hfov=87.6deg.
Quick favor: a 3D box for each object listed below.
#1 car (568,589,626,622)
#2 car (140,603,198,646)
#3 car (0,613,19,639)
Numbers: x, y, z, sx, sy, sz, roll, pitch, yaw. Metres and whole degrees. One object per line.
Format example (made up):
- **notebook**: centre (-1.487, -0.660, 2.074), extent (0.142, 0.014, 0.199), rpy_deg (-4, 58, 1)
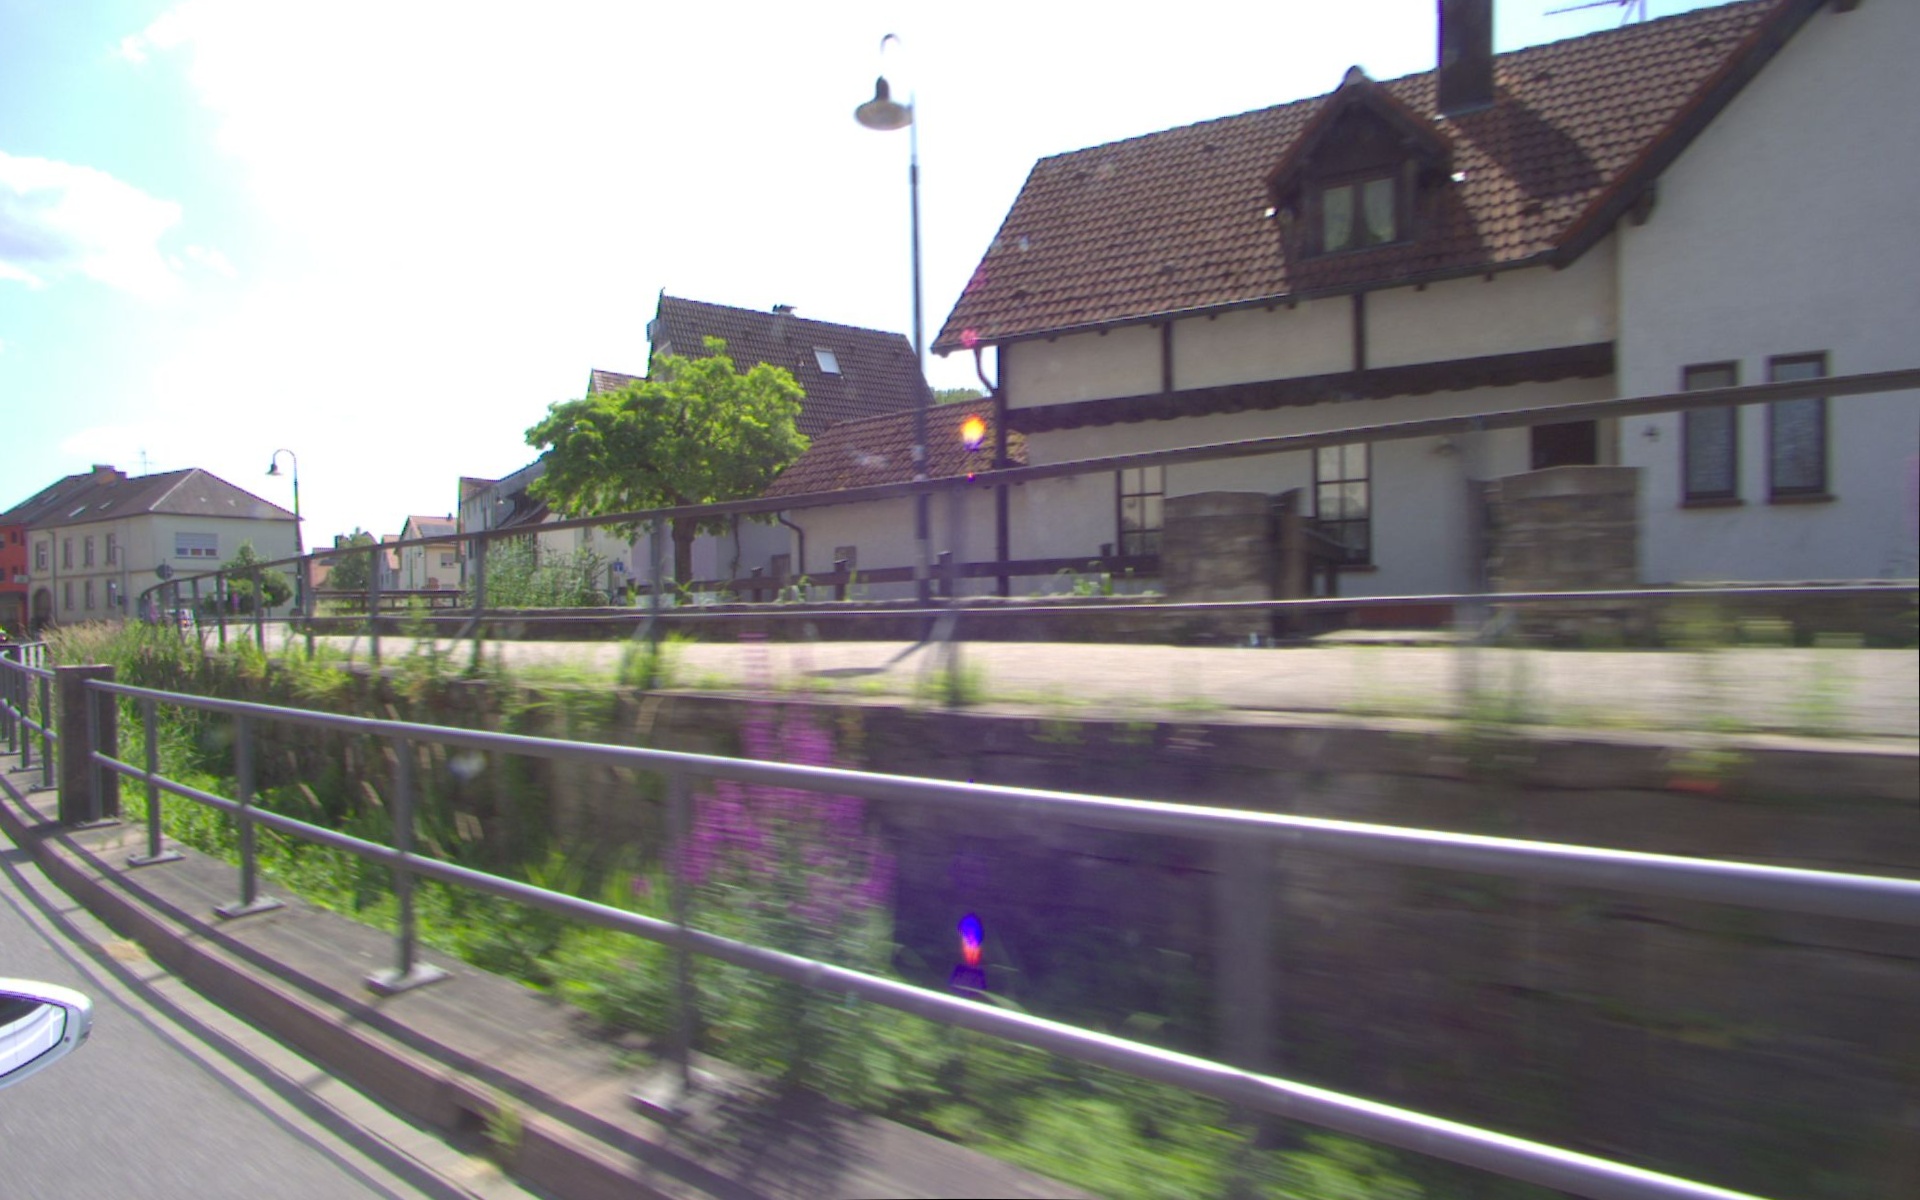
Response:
- **car**: centre (-16.378, 0.245, 45.069), extent (1.650, 1.434, 3.056), rpy_deg (0, 0, -37)
- **car**: centre (-39.266, 1.187, 49.758), extent (1.878, 2.007, 3.095), rpy_deg (-3, 1, -33)
- **car**: centre (-65.842, 1.803, 67.925), extent (3.415, 1.742, 1.621), rpy_deg (-2, 1, 24)
